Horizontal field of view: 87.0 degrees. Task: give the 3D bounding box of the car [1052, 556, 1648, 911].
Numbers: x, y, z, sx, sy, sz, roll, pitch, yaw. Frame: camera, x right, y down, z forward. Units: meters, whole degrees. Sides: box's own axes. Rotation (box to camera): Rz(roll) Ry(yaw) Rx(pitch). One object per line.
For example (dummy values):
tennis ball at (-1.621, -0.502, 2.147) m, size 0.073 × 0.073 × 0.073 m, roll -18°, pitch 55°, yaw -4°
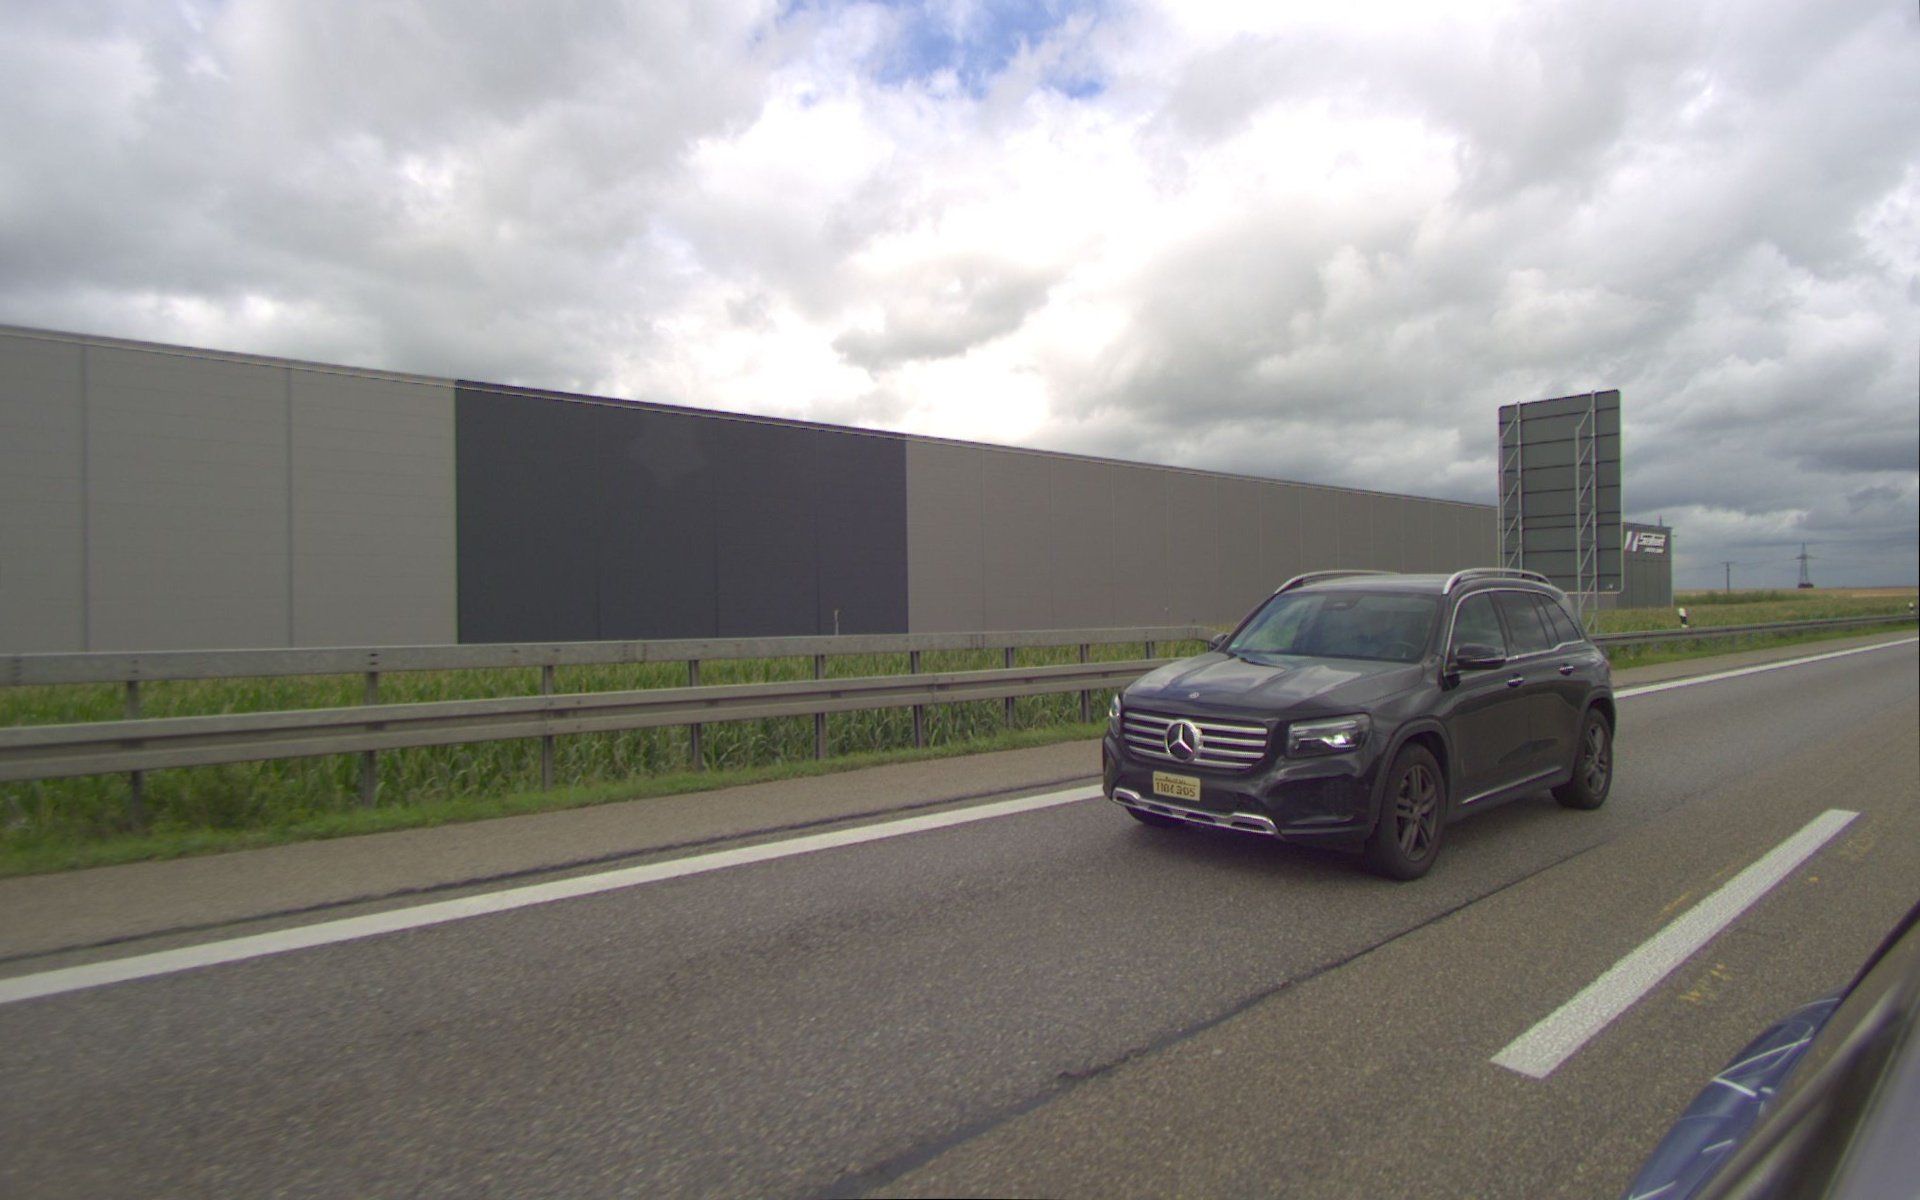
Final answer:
car at (2.779, 0.568, 6.713) m, size 4.282 × 1.629 × 1.837 m, roll -1°, pitch 1°, yaw -39°
